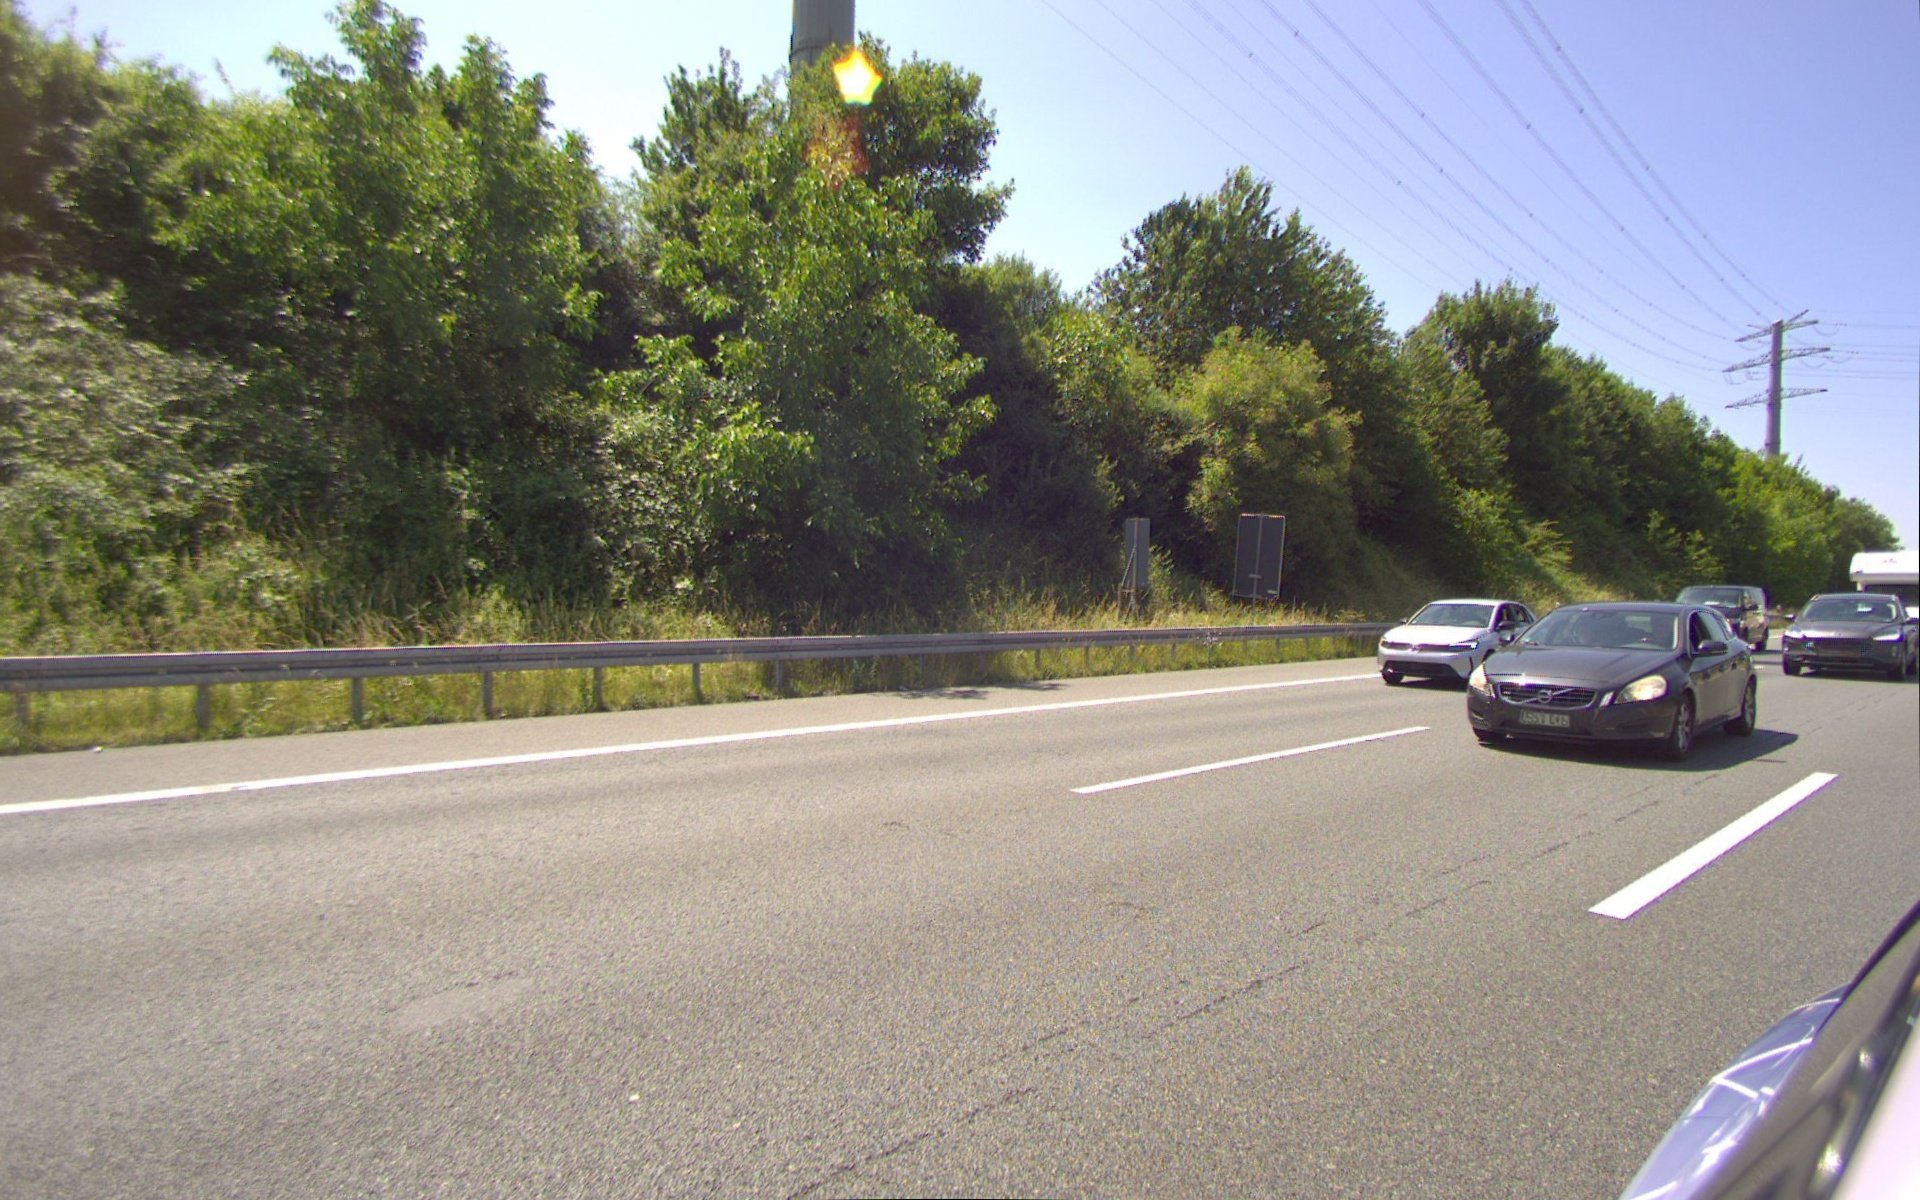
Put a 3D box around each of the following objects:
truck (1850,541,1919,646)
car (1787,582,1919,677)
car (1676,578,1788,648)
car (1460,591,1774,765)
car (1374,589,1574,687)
[{"bbox_3d":[31.395,-0.209,32.744,9.723,3.053,2.512,0,0,-40],"label":"truck"},{"bbox_3d":[18.408,0.514,20.588,4.309,1.724,1.889,0,0,-43],"label":"car"},{"bbox_3d":[22.996,0.336,30.086,4.617,1.928,1.787,0,0,-42],"label":"car"},{"bbox_3d":[6.966,0.632,10.553,4.159,1.455,1.798,0,0,-43],"label":"car"},{"bbox_3d":[8.898,0.573,17.403,3.944,1.488,1.744,0,0,-41],"label":"car"}]
